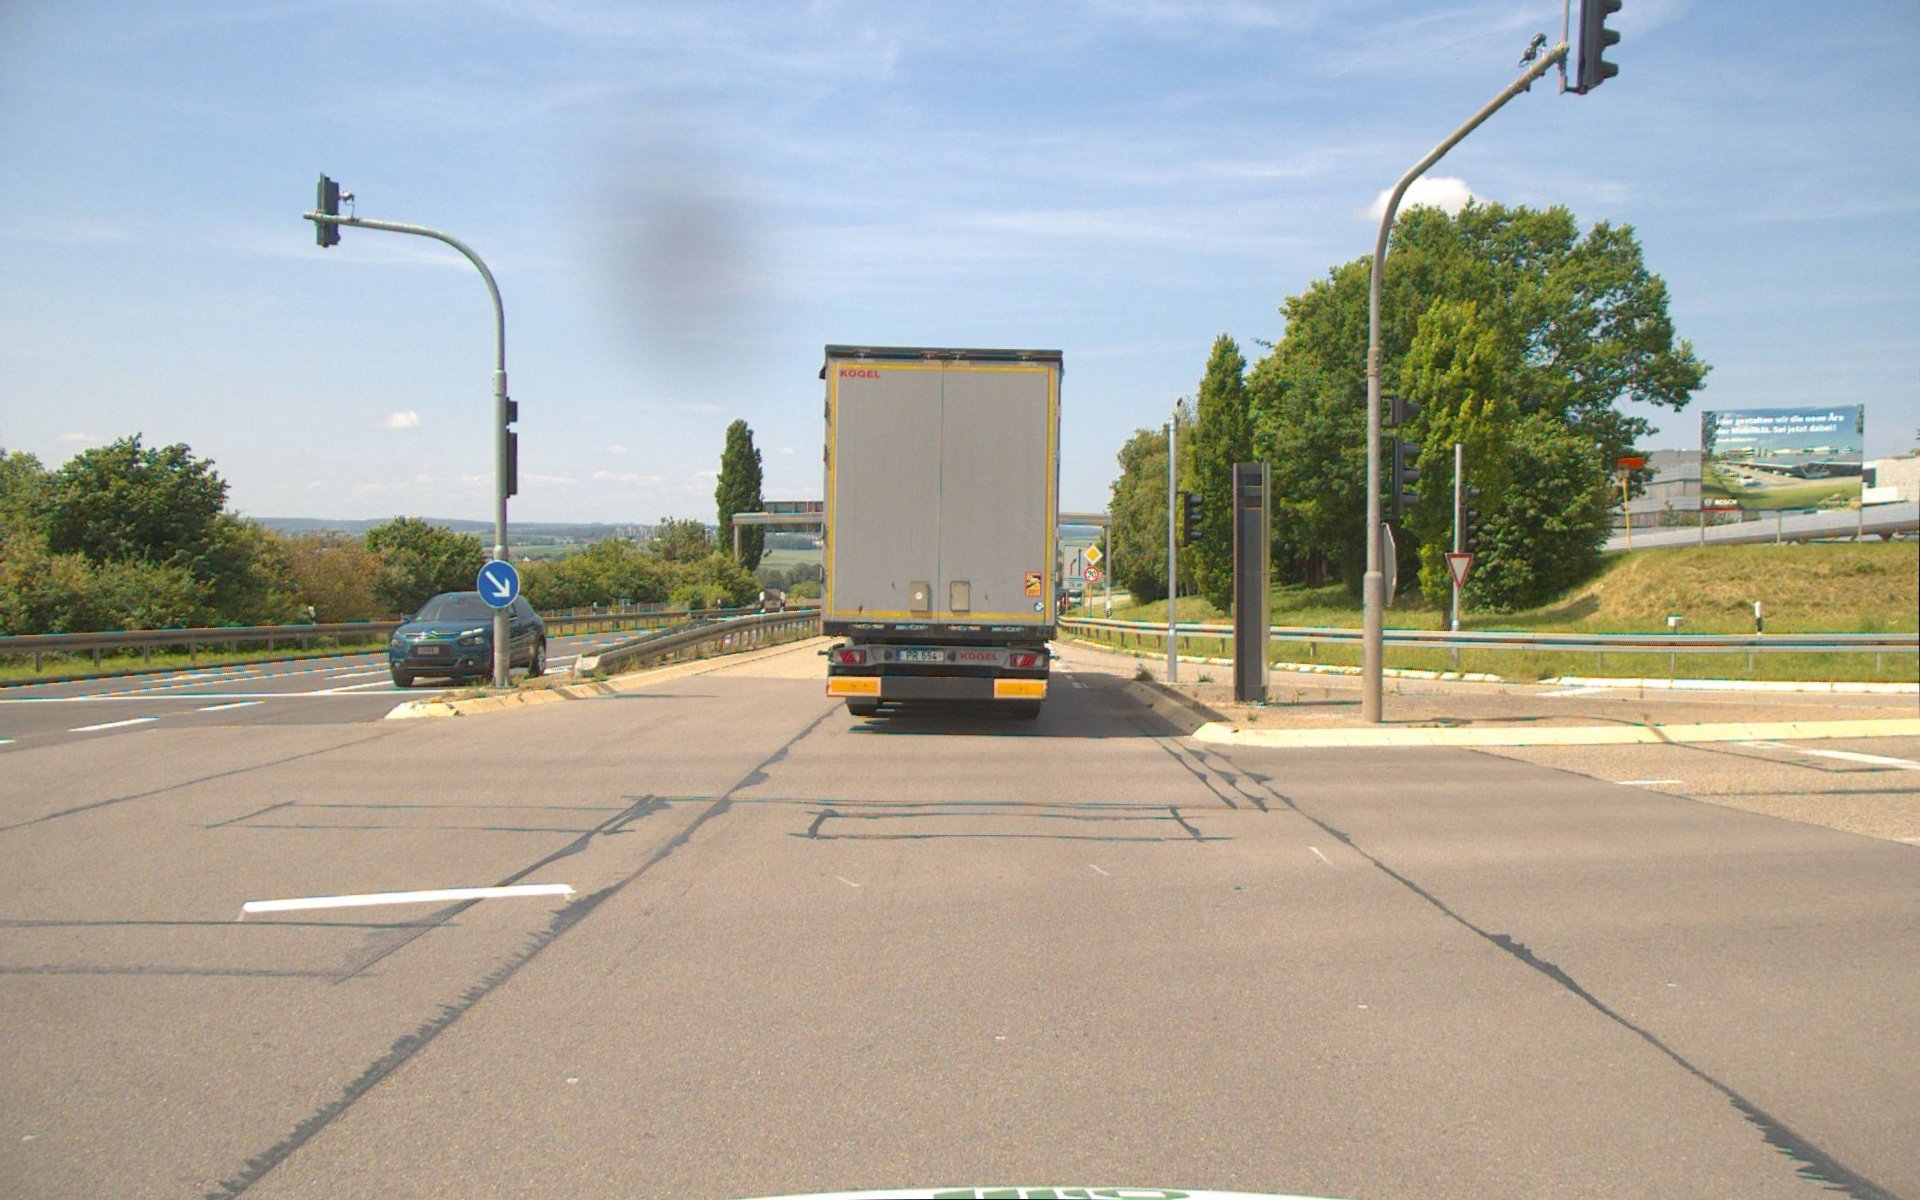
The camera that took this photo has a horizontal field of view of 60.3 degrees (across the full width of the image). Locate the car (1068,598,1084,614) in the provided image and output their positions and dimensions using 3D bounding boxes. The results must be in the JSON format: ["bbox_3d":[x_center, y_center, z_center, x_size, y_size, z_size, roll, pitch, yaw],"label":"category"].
[{"bbox_3d":[13.068,0.713,186.501,1.749,1.717,4.001,1,-1,3],"label":"car"}]

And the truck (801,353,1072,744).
[{"bbox_3d":[-0.482,-0.552,22.778,2.743,3.998,11.336,1,0,-3],"label":"truck"}]

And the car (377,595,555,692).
[{"bbox_3d":[-8.246,0.674,27.999,1.719,1.494,4.196,-1,0,0],"label":"car"}]

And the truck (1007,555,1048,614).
[{"bbox_3d":[4.765,-0.991,115.109,2.600,3.830,10.166,1,-1,4],"label":"truck"}]

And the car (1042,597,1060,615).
[{"bbox_3d":[9.253,0.583,167.625,1.749,1.717,4.001,1,-1,3],"label":"car"}]
